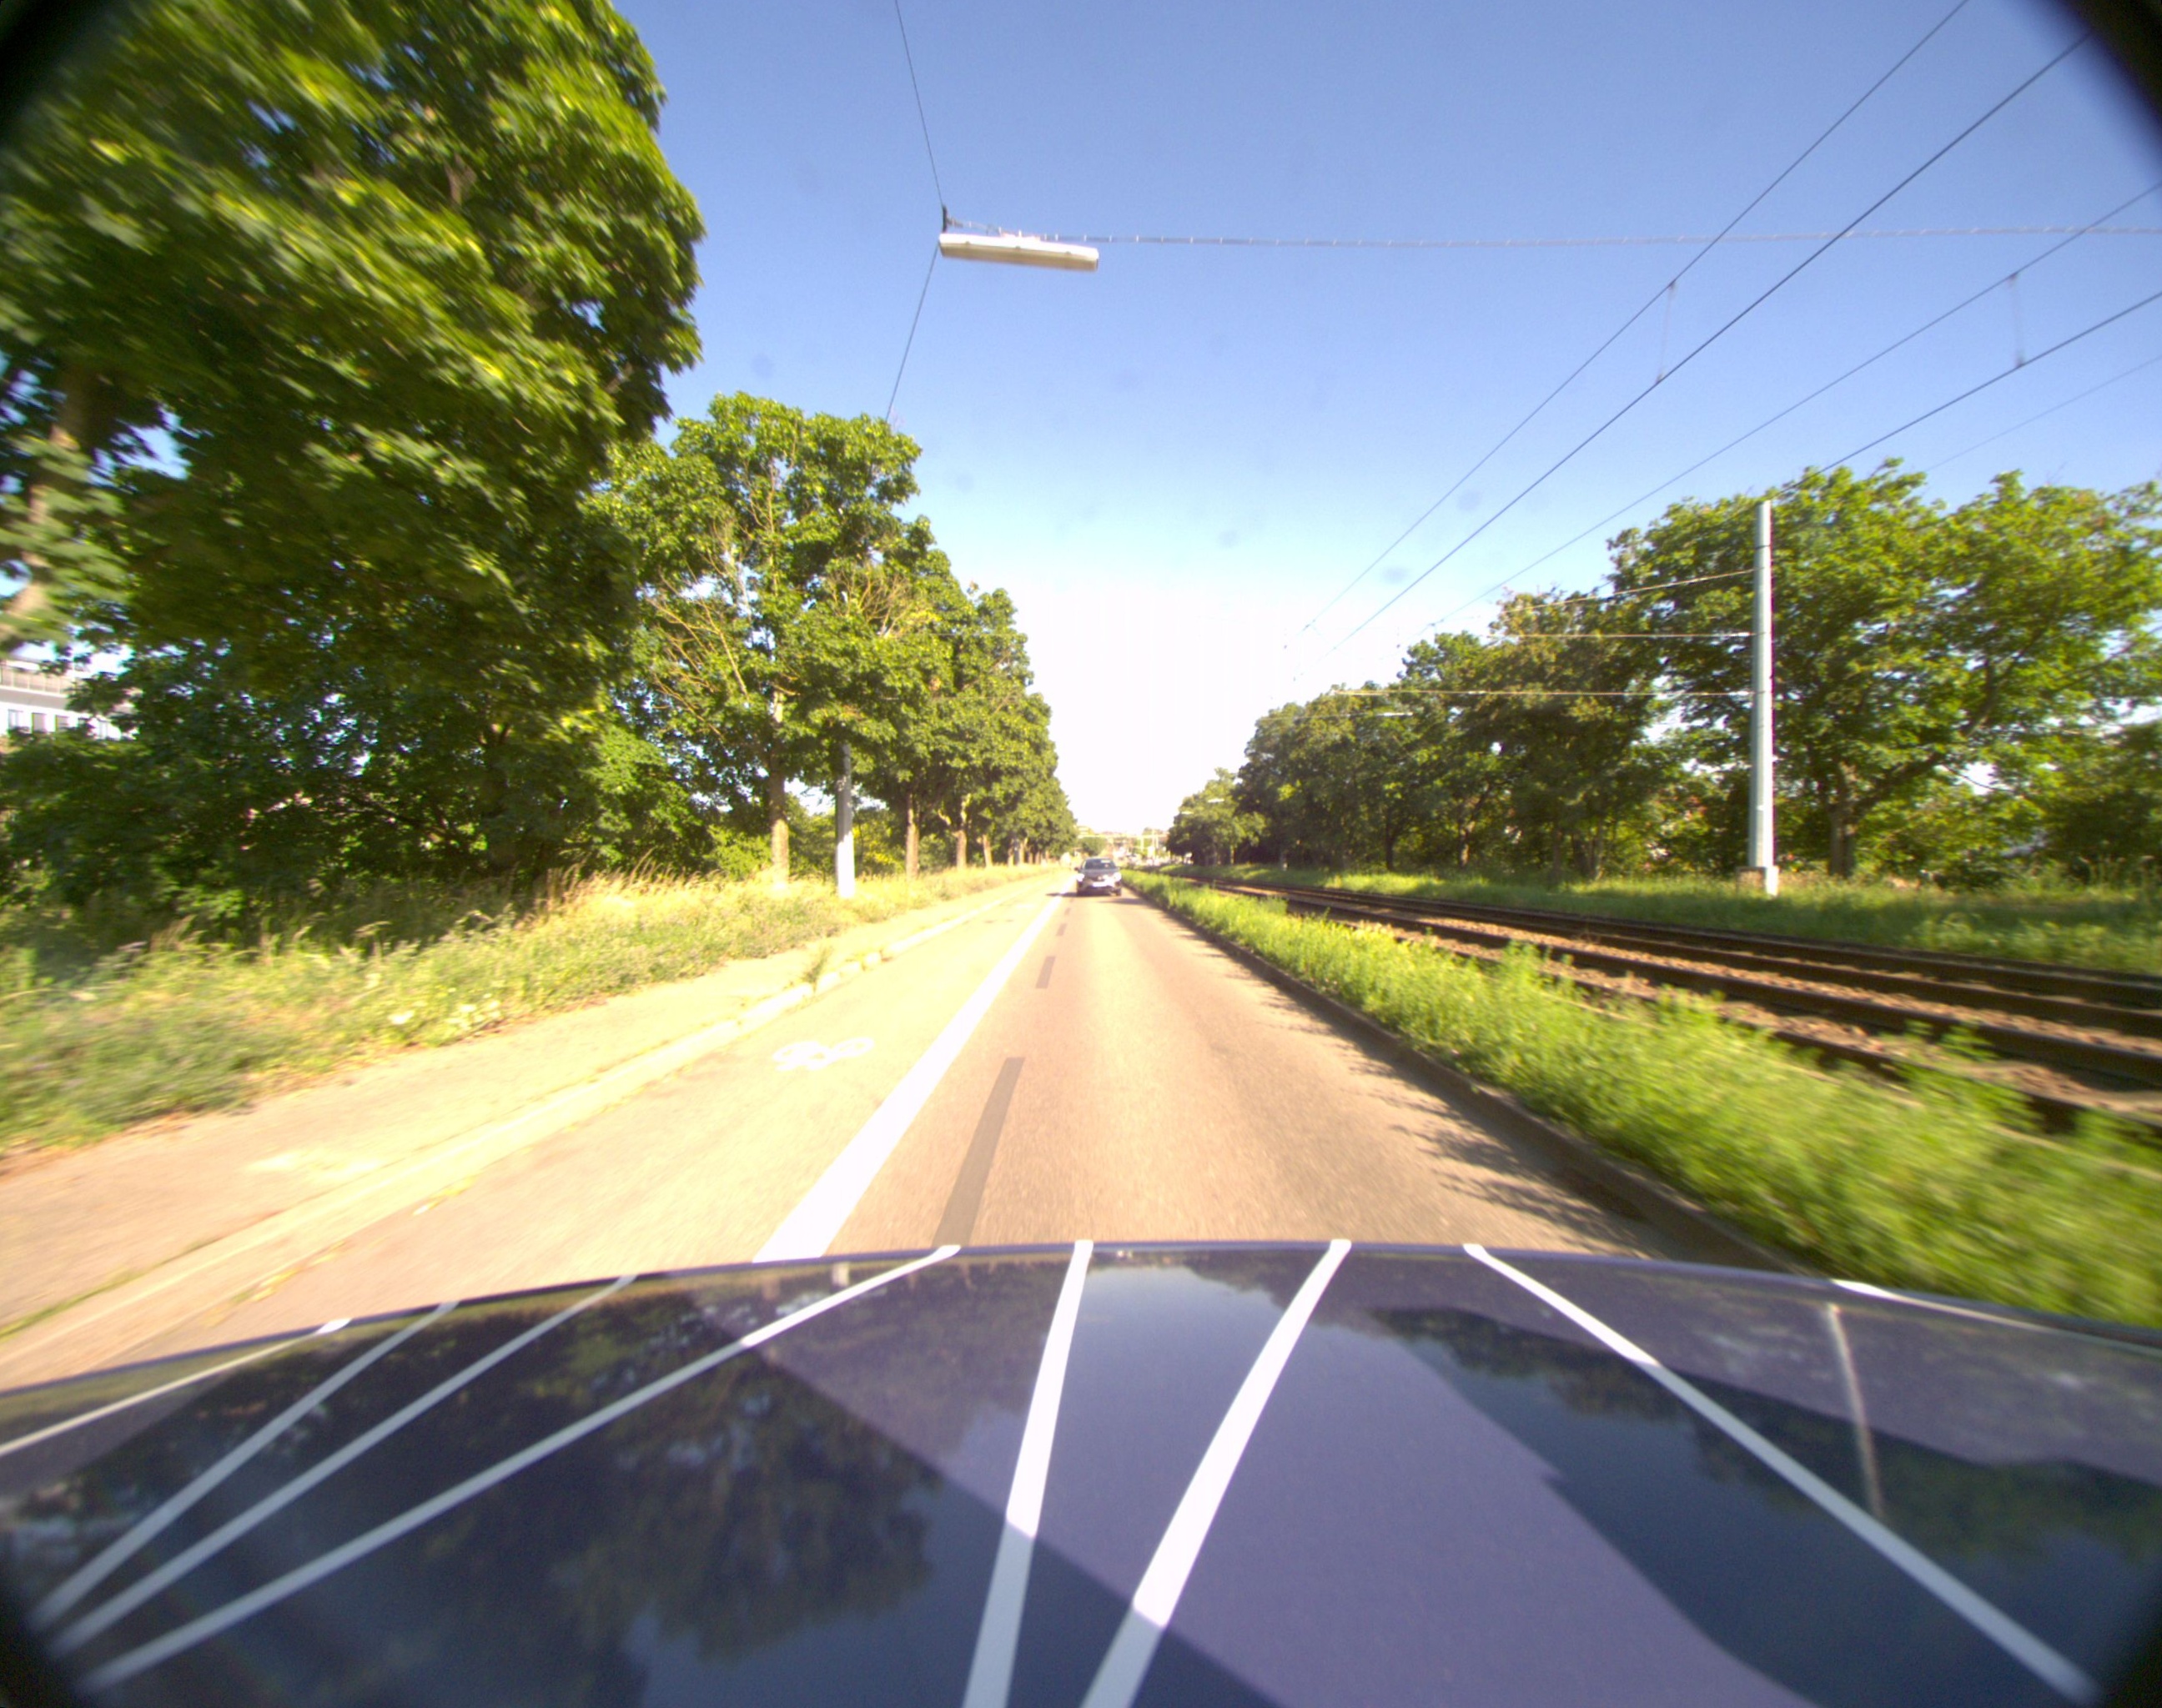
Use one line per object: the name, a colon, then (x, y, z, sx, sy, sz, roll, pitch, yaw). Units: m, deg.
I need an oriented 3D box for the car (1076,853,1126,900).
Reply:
car: (0.782, 0.828, 30.486, 1.814, 1.625, 4.710, -2, 0, 1)
